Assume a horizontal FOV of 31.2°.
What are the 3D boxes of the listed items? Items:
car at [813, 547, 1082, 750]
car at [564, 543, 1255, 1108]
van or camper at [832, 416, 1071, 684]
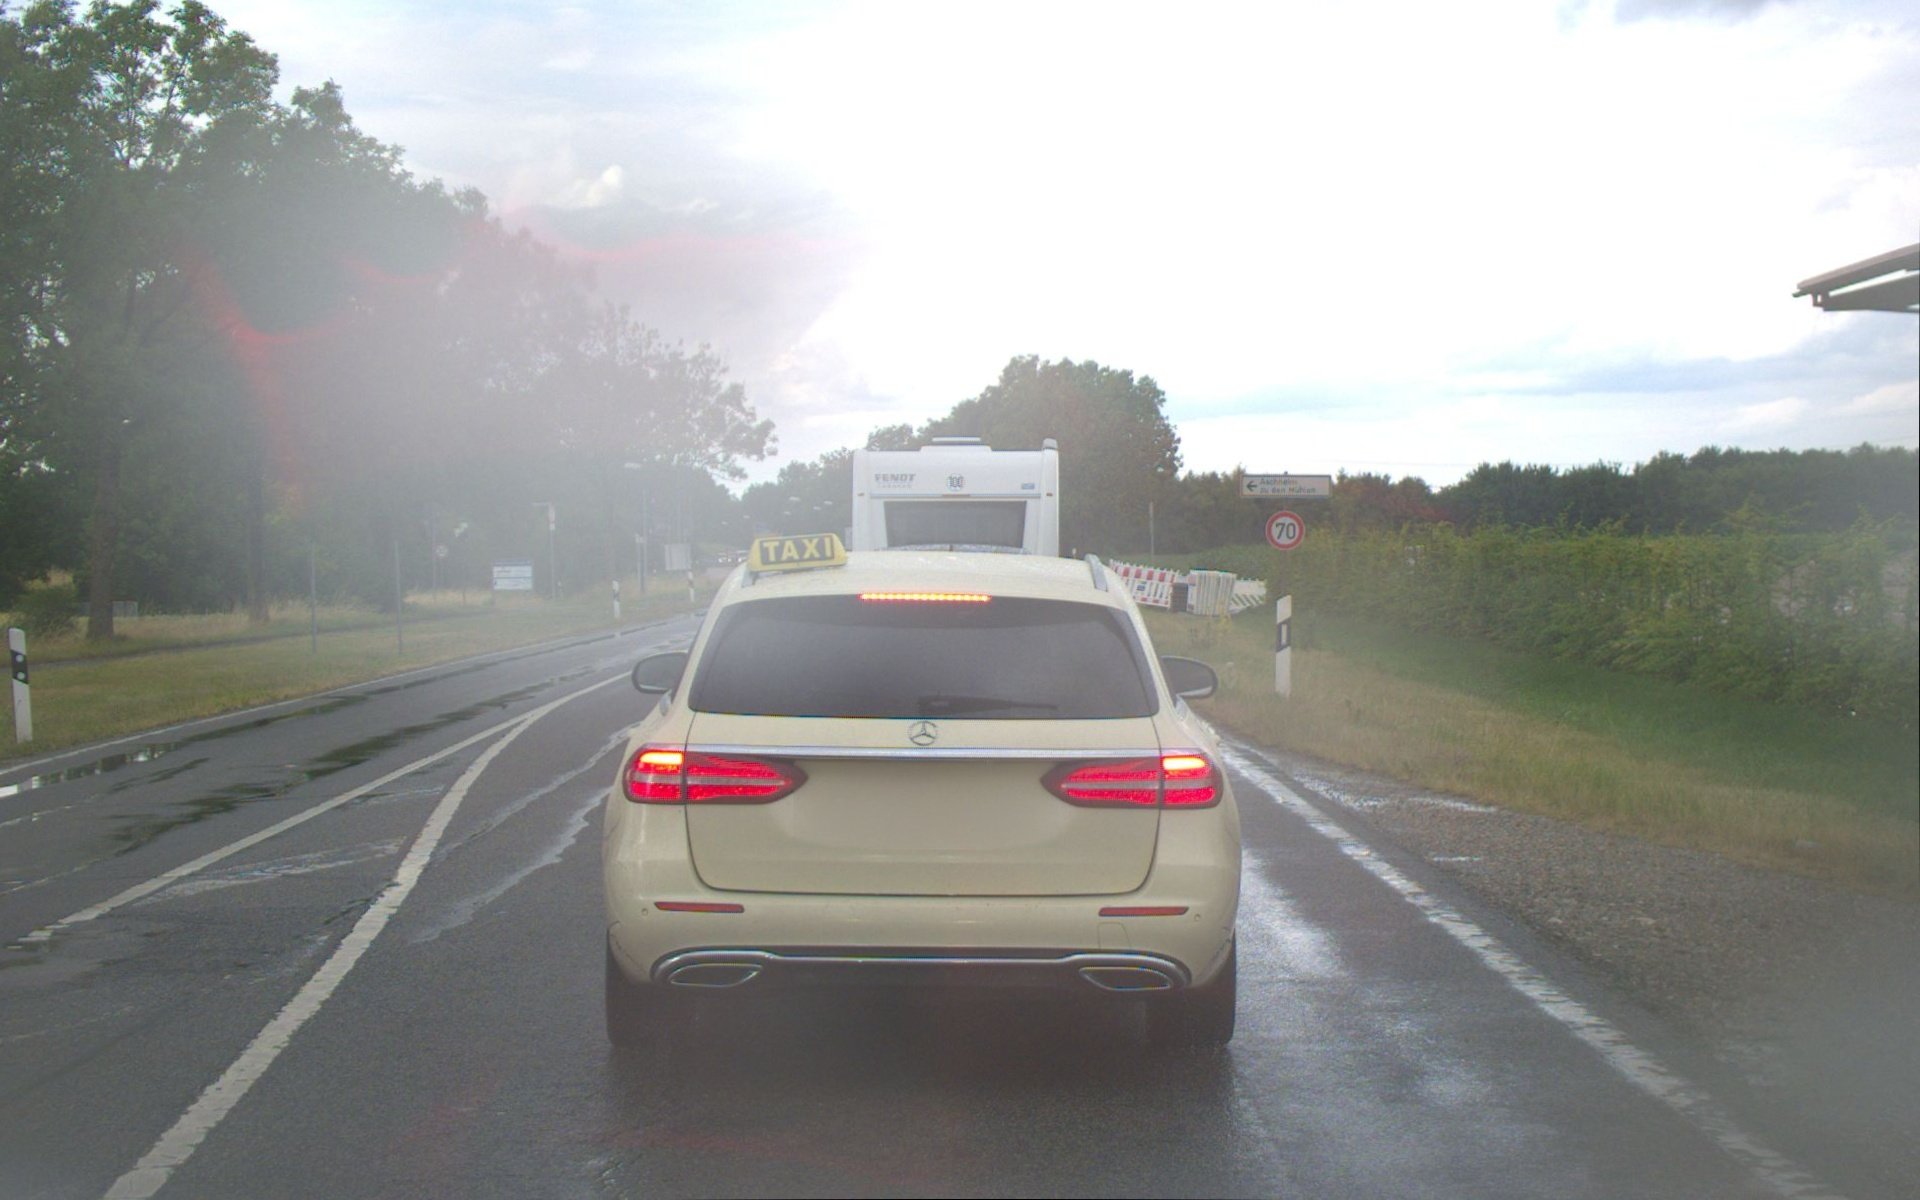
[{"bbox_3d":[-0.111,0.313,26.288,1.894,1.424,3.928,0,1,-1],"label":"car"},{"bbox_3d":[-0.126,0.556,11.000,1.797,1.459,4.031,0,1,0],"label":"car"},{"bbox_3d":[-0.057,-0.587,40.116,2.497,2.821,5.934,-2,1,1],"label":"van or camper"}]
